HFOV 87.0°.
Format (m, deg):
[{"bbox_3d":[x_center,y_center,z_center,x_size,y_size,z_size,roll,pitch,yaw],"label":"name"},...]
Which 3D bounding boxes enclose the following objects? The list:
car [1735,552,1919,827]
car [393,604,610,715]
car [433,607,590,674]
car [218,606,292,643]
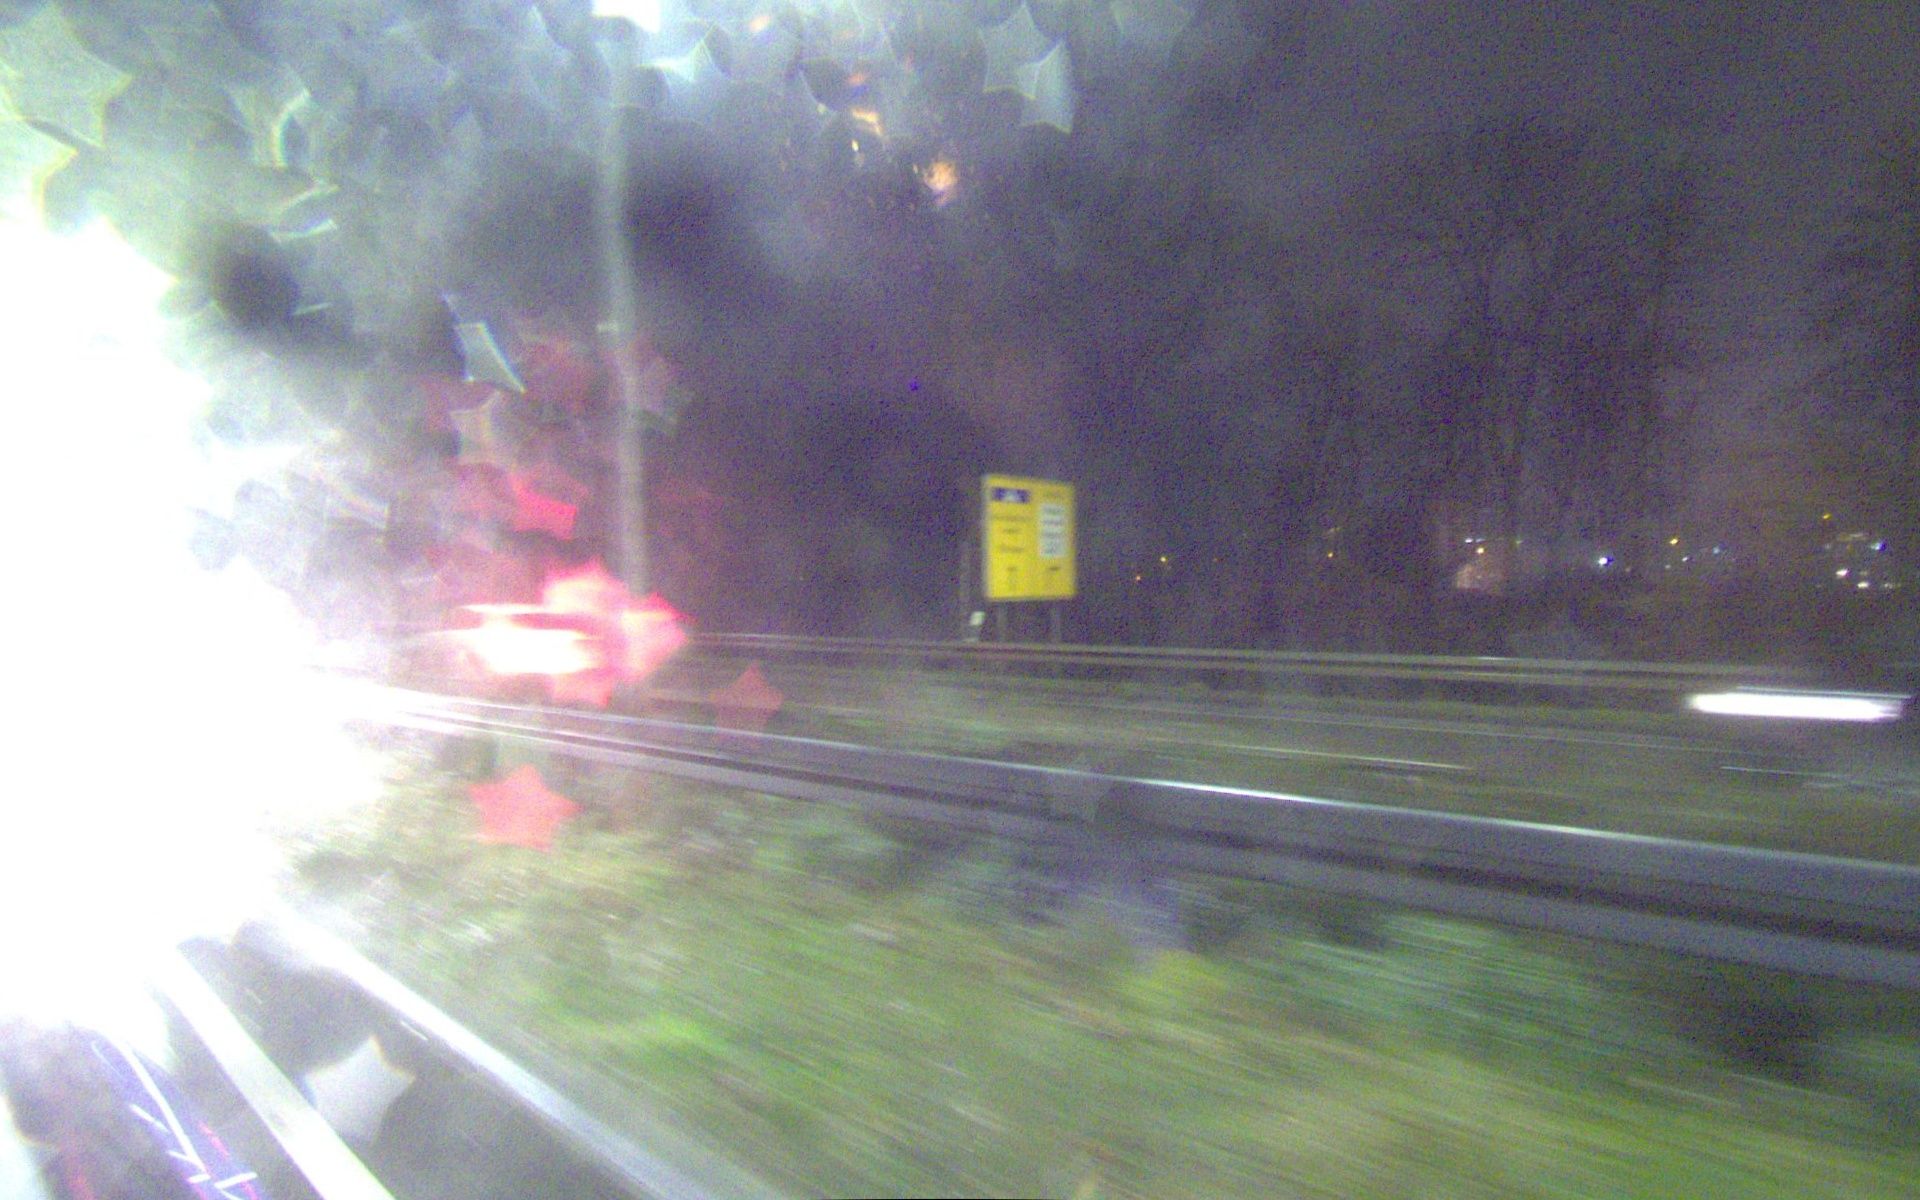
[{"bbox_3d":[7.307,0.508,5.990,4.242,1.643,1.749,-1,-1,37],"label":"car"},{"bbox_3d":[-7.822,0.889,17.082,4.248,1.620,1.849,0,0,43],"label":"car"},{"bbox_3d":[-11.037,0.922,24.754,4.665,1.434,1.694,0,-1,41],"label":"car"},{"bbox_3d":[-30.728,1.009,44.034,1.970,1.519,4.844,1,-1,-43],"label":"car"}]
